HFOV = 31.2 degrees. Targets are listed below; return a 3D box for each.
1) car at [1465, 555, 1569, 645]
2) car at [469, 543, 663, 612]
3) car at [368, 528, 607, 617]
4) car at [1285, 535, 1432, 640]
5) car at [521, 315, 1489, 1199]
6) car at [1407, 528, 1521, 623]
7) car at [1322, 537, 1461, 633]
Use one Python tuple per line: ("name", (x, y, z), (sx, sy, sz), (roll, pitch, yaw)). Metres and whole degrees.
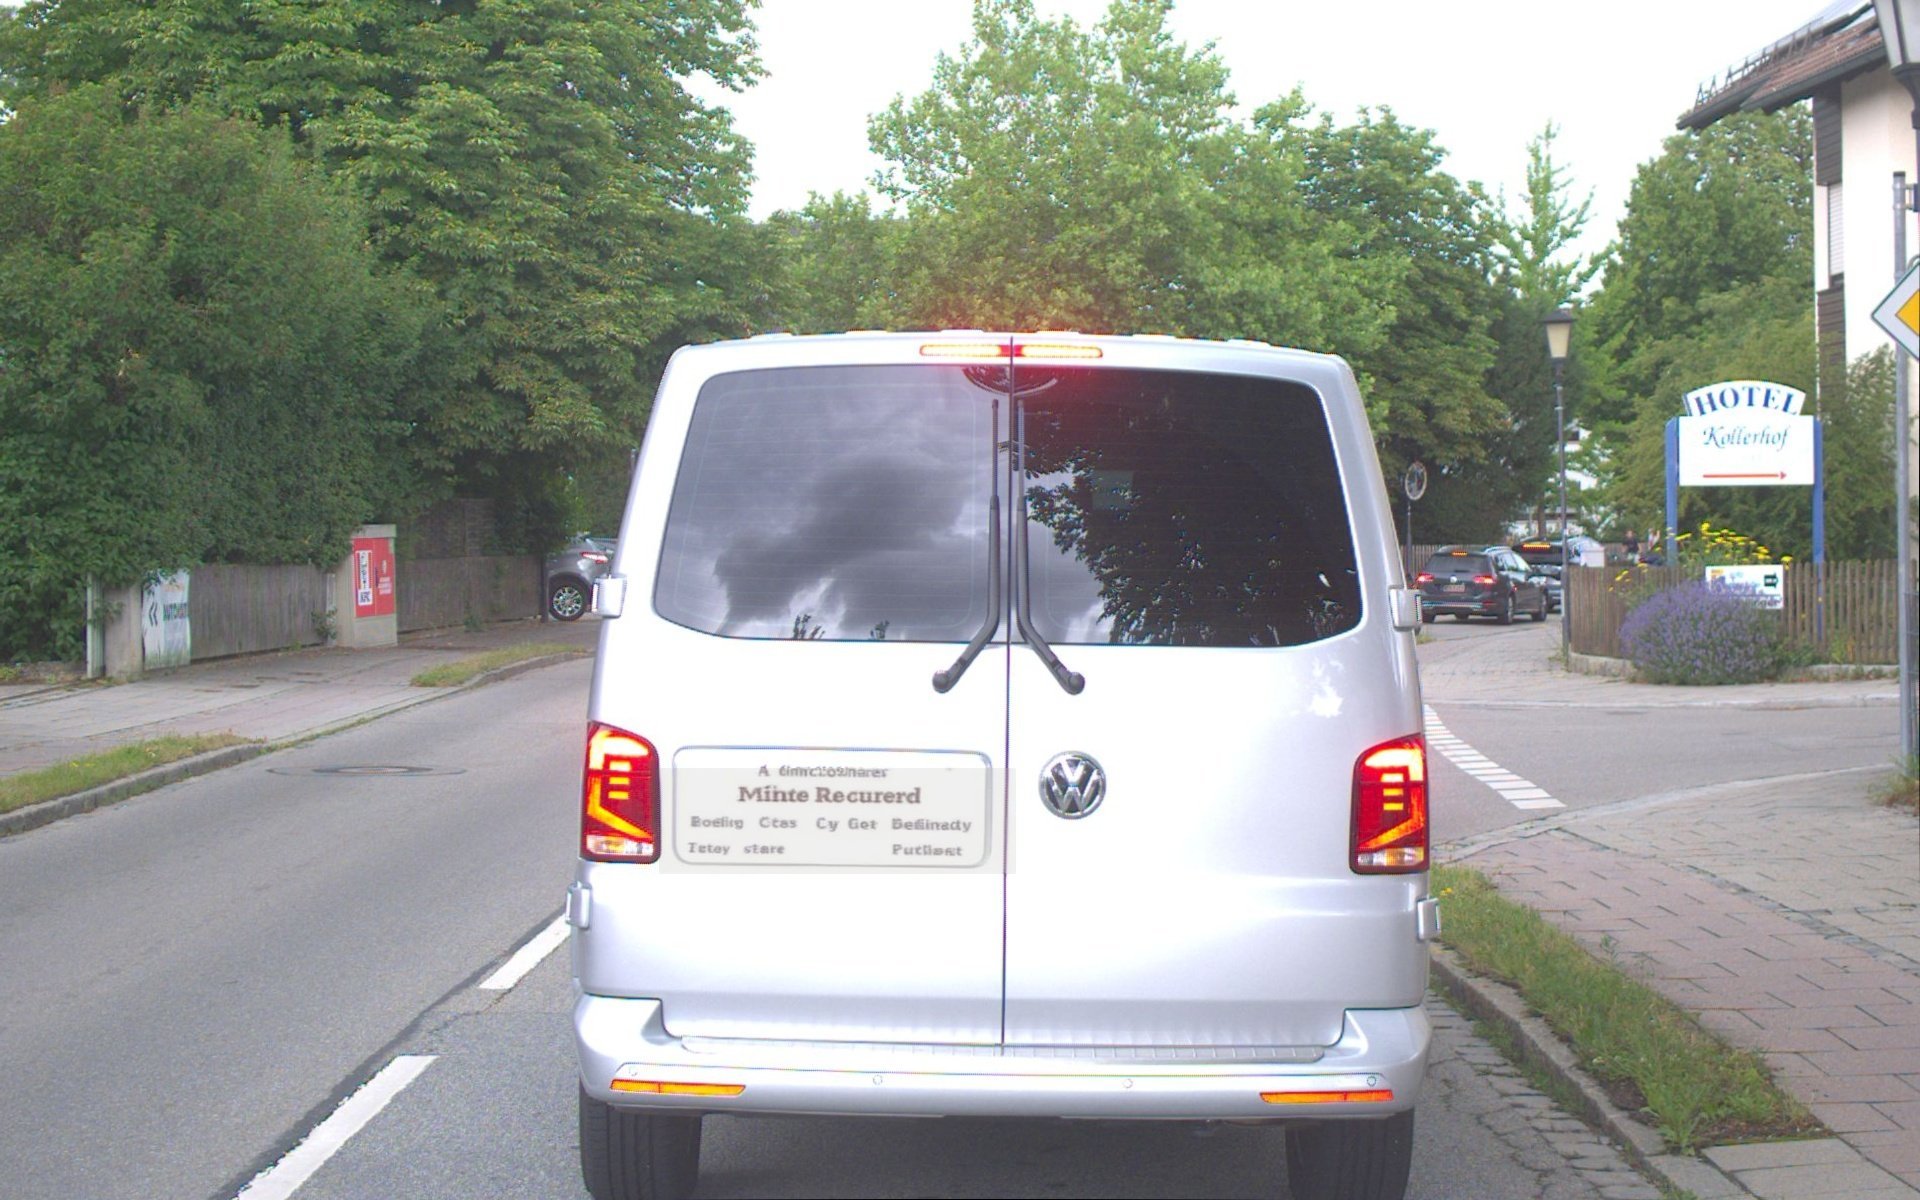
("car", (11.780, -0.030, 72.529), (1.882, 1.819, 3.918), (0, 1, 13))
("car", (-7.919, -0.469, 69.019), (3.749, 1.341, 1.584), (-1, 1, -10))
("car", (-8.082, -0.482, 58.817), (3.986, 1.481, 2.001), (0, 1, -8))
("car", (6.092, -0.214, 52.235), (1.882, 1.530, 3.919), (0, 1, 12))
("car", (0.098, 0.383, 8.689), (1.881, 1.934, 3.921), (0, 1, 0))
("car", (9.667, -0.495, 65.768), (1.882, 1.742, 4.078), (-1, 1, 12))
("car", (7.201, -0.278, 57.115), (1.882, 1.530, 3.918), (0, 1, 13))
